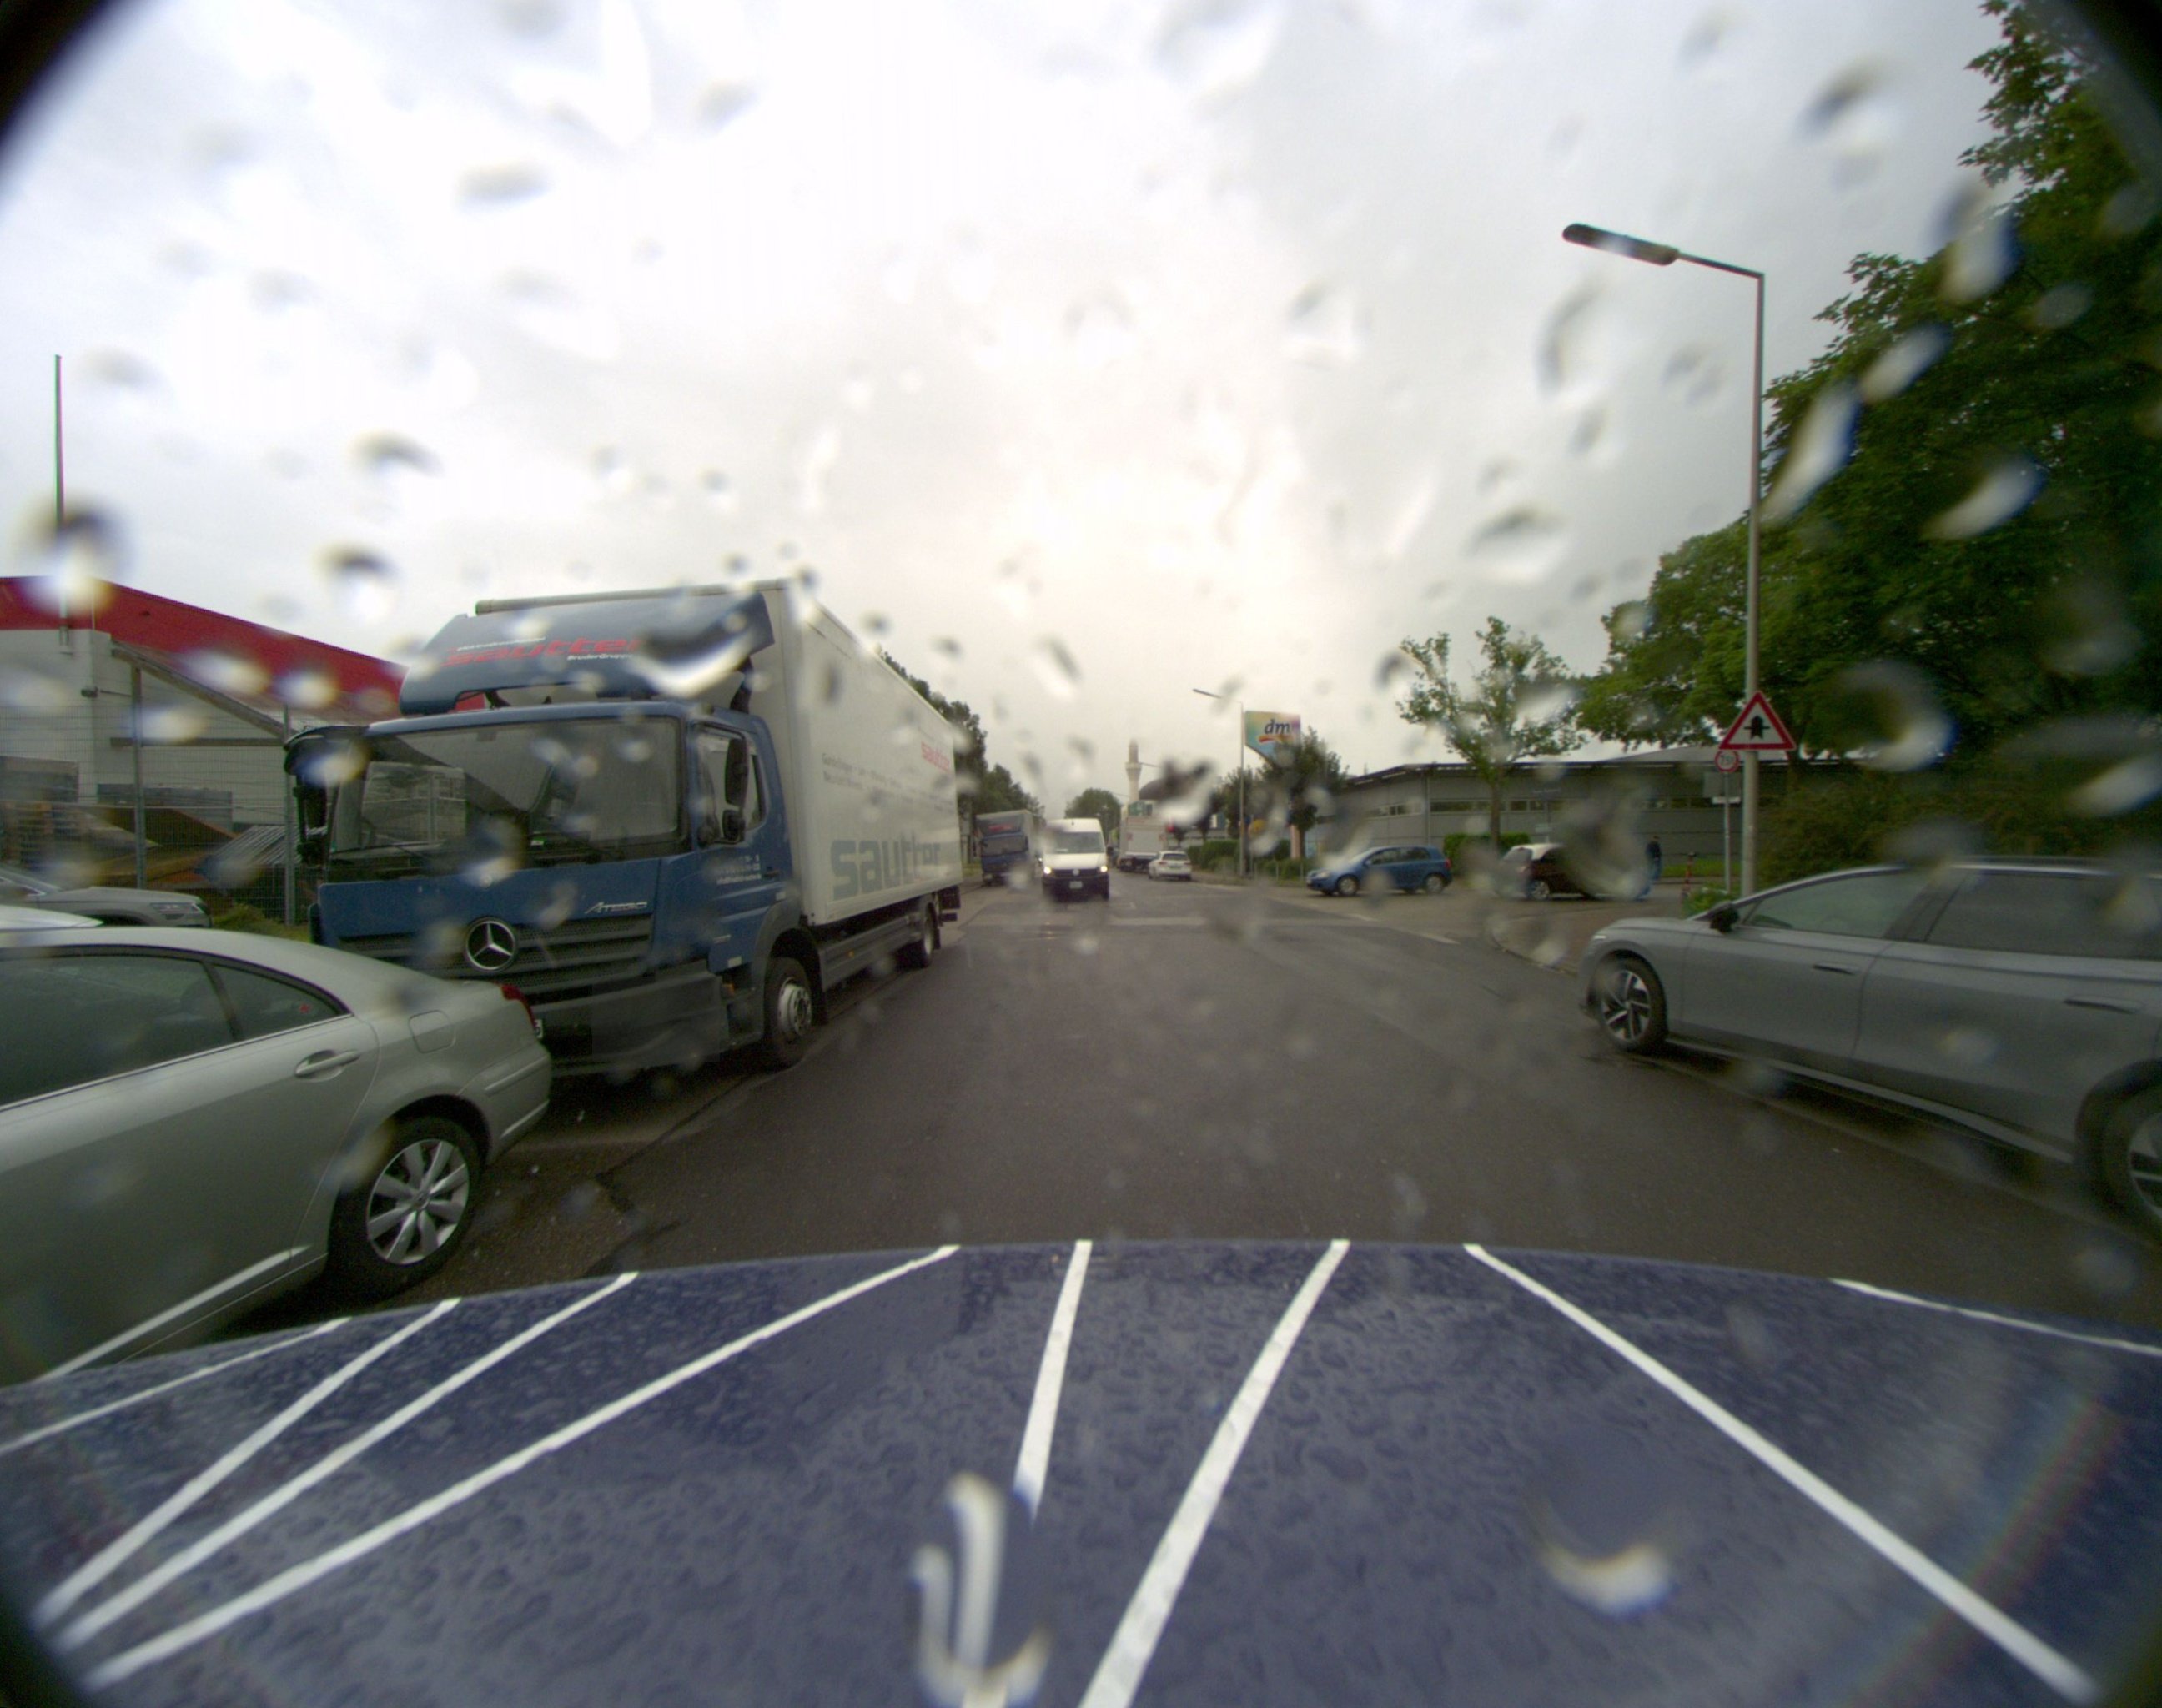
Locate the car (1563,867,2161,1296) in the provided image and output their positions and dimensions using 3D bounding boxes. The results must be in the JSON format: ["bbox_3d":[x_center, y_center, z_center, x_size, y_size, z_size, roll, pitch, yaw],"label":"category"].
[{"bbox_3d":[5.015,0.944,3.969,1.814,1.519,4.746,3,1,-1],"label":"car"}]

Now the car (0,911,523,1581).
[{"bbox_3d":[-3.449,1.012,1.298,1.802,1.433,4.344,-1,1,-1],"label":"car"}]

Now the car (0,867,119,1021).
[{"bbox_3d":[-12.176,0.917,6.930,1.770,1.462,4.008,0,1,45],"label":"car"}]

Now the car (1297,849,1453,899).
[{"bbox_3d":[8.703,0.561,22.724,3.997,1.432,1.736,0,0,-1],"label":"car"}]

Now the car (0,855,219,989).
[{"bbox_3d":[-13.493,0.816,9.131,1.868,1.518,4.008,0,1,44],"label":"car"}]

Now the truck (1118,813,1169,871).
[{"bbox_3d":[4.262,-0.800,53.112,2.889,3.725,7.866,-1,1,0],"label":"truck"}]

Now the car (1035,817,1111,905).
[{"bbox_3d":[-0.123,0.181,24.326,2.084,2.466,5.347,-1,1,3],"label":"car"}]

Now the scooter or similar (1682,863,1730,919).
[{"bbox_3d":[13.644,0.786,16.610,0.284,1.169,1.060,-1,1,7],"label":"scooter or similar"}]

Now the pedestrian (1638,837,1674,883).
[{"bbox_3d":[21.454,0.220,28.363,0.782,1.664,0.758,-1,1,-3],"label":"pedestrian"}]

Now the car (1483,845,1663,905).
[{"bbox_3d":[12.730,0.544,19.824,3.574,1.446,1.639,-1,-1,3],"label":"car"}]

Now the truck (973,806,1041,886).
[{"bbox_3d":[-3.775,-0.441,40.546,2.678,3.671,8.007,-4,1,-1],"label":"truck"}]

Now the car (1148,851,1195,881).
[{"bbox_3d":[4.559,0.577,38.796,1.840,1.426,4.490,1,1,0],"label":"car"}]

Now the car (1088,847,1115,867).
[{"bbox_3d":[1.489,0.188,56.737,1.735,1.432,3.999,0,0,-2],"label":"car"}]

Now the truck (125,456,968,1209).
[{"bbox_3d":[-3.452,-0.145,8.612,2.748,3.767,9.297,-4,1,0],"label":"truck"}]
